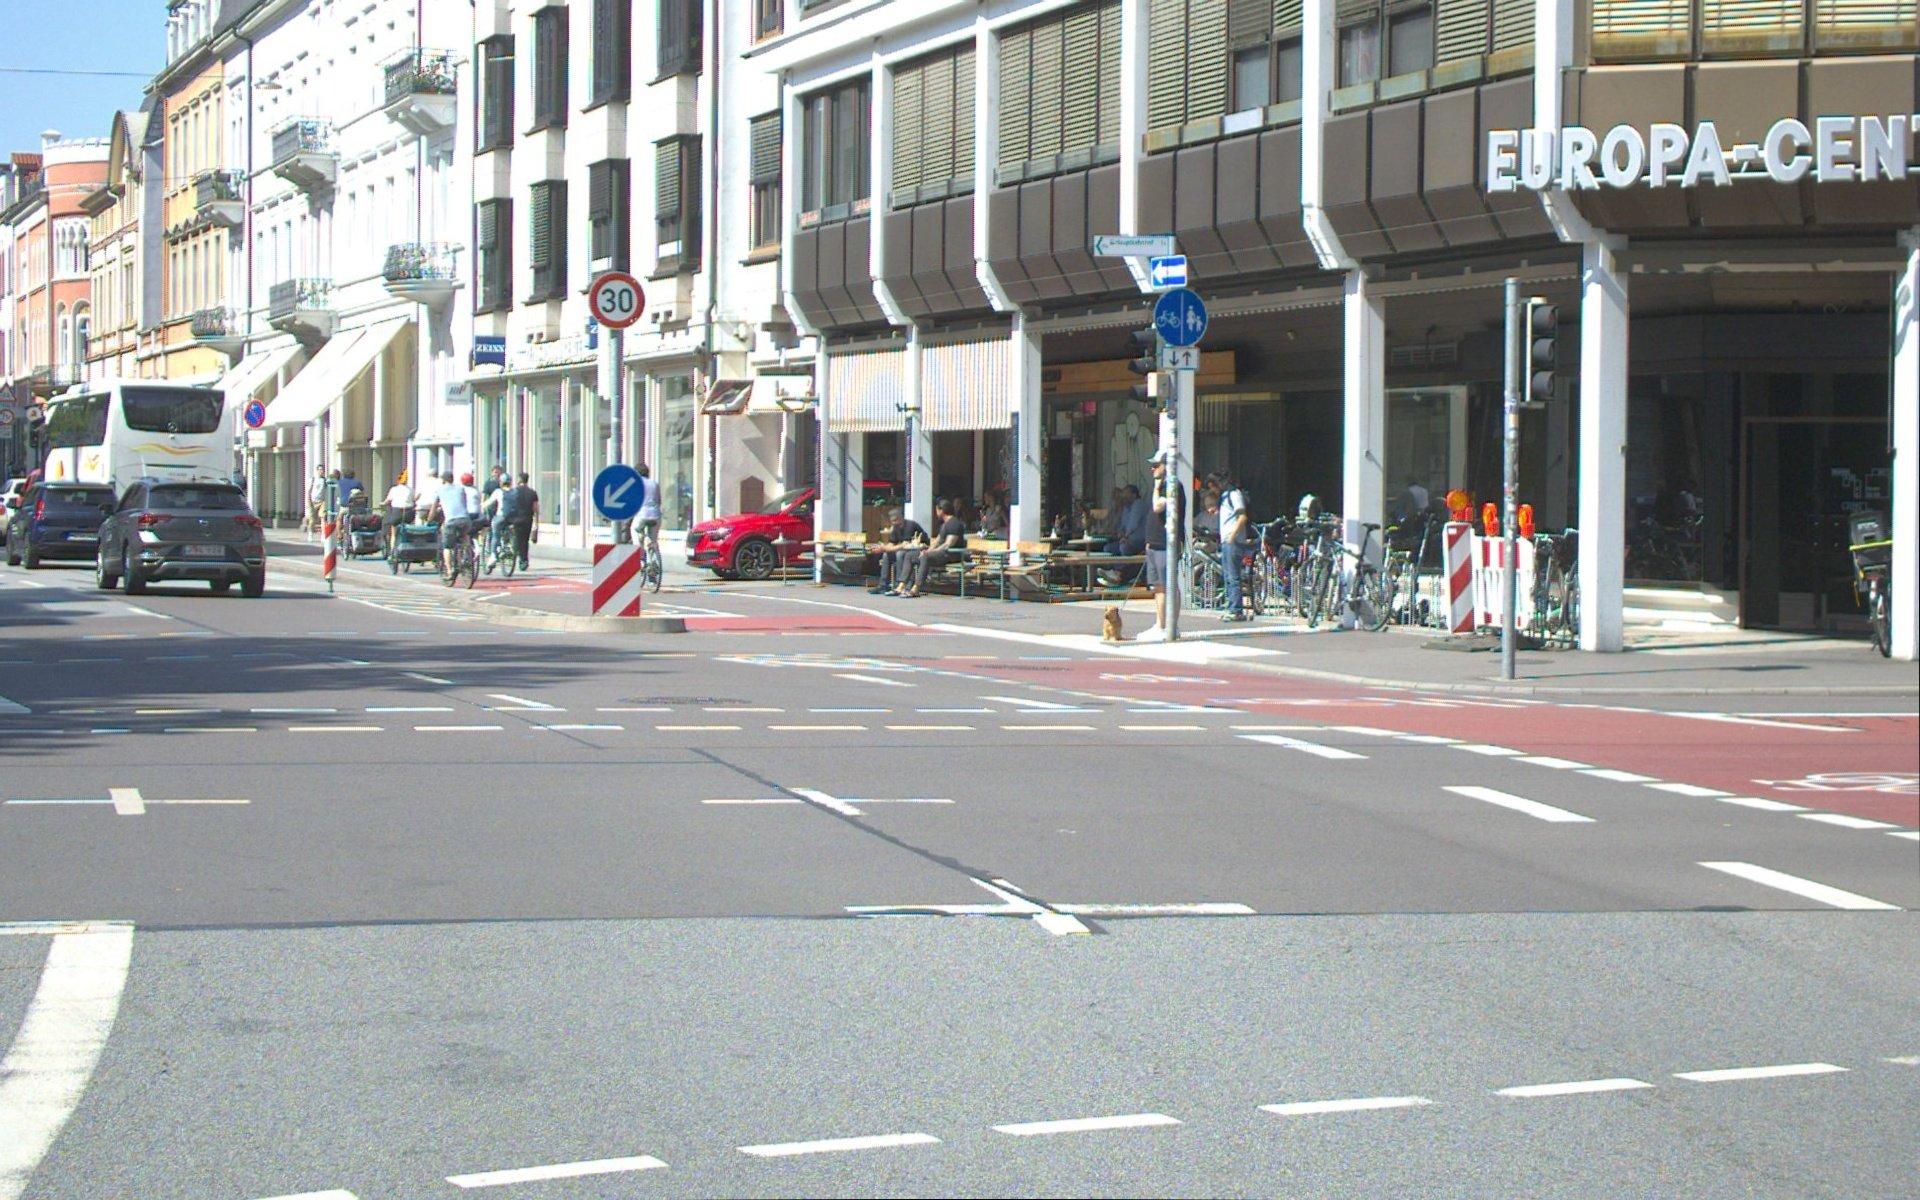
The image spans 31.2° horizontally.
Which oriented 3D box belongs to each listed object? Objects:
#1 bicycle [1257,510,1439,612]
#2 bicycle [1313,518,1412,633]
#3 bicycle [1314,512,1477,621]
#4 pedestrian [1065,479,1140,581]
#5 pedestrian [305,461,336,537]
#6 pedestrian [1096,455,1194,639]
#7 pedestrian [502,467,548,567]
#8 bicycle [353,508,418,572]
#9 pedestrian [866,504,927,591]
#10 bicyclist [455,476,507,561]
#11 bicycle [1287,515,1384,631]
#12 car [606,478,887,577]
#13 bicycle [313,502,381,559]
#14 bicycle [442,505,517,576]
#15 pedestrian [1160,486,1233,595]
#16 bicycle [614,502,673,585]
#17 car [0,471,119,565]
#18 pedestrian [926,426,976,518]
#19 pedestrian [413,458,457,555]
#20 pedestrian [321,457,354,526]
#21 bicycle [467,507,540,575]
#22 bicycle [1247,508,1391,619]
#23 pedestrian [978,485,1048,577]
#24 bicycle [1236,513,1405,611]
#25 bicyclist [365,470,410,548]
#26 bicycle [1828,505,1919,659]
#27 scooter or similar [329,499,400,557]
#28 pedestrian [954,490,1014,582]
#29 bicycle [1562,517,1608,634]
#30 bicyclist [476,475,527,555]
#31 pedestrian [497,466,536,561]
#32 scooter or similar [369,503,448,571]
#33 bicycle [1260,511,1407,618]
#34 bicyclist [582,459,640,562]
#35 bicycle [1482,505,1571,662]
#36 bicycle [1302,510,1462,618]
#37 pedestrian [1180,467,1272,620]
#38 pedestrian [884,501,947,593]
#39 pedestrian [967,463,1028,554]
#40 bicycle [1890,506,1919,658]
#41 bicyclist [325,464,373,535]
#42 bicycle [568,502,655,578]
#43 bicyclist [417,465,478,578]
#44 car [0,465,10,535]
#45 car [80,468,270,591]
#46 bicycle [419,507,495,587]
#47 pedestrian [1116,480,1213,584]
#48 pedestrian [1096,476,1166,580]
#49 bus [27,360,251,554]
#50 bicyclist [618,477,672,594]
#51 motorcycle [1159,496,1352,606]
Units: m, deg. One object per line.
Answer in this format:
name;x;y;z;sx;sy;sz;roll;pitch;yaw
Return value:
bicycle;4.359;-0.436;38.508;2.235;1.116;0.278;0;2;-28
bicycle;4.143;-0.274;35.549;0.276;1.116;2.244;0;2;-13
bicycle;4.630;-0.361;36.522;1.716;1.116;0.278;-1;2;-13
pedestrian;1.952;-0.957;47.264;0.813;1.392;0.697;0;1;-22
pedestrian;-14.942;-2.360;80.348;0.573;1.772;1.020;-1;1;-18
pedestrian;1.867;-0.534;34.726;0.832;1.829;0.697;0;0;-12
pedestrian;-7.555;-1.447;59.683;0.620;1.714;0.836;0;1;-18
bicycle;-10.090;-1.060;60.374;0.620;1.095;2.353;0;2;-22
pedestrian;-0.867;-0.718;46.765;0.711;1.169;0.697;0;1;-12
bicyclist;-7.643;-1.303;54.836;0.620;1.350;0.847;0;1;-22
bicycle;3.855;-0.296;35.414;0.276;1.116;2.244;0;2;-13
car;-3.360;-1.139;53.897;4.043;1.489;1.842;-1;0;-19
bicycle;-12.076;-1.377;67.688;0.837;1.095;2.353;0;2;-22
bicycle;-7.681;-0.957;54.926;0.620;1.095;2.353;0;2;-22
pedestrian;3.056;-0.772;44.529;0.711;1.392;0.697;0;1;-21
bicycle;-4.434;-0.795;48.133;0.594;1.116;1.802;0;2;-13
car;-15.621;-1.389;59.120;1.832;1.522;4.001;-2;1;-19
pedestrian;-0.142;-1.924;51.599;0.535;1.363;0.689;0;2;-20
pedestrian;-9.380;-1.677;61.441;0.620;1.713;0.836;0;2;-20
pedestrian;-14.731;-2.555;81.342;0.645;1.611;0.822;0;1;-18
bicycle;-7.542;-0.984;56.742;0.620;1.095;2.353;0;2;-22
bicycle;3.932;-0.397;37.642;1.545;1.202;0.278;0;2;-14
pedestrian;0.785;-1.025;50.967;0.877;1.363;0.537;0;2;-21
bicycle;4.110;-0.435;39.076;2.236;1.093;0.277;-1;2;-34
bicyclist;-10.038;-1.596;60.253;0.620;1.366;0.781;0;1;-22
bicycle;8.434;-0.183;31.188;0.530;1.312;1.964;2;3;31
scooter or similar;-11.446;-1.389;66.064;1.121;1.098;1.086;0;2;-22
pedestrian;0.353;-0.955;51.299;0.760;1.363;0.478;0;2;-21
bicycle;5.943;-0.244;32.658;0.308;1.061;1.470;0;2;15
bicyclist;-7.582;-1.408;56.830;0.620;1.292;0.867;0;1;-22
pedestrian;-8.703;-1.693;67.503;0.694;1.844;0.836;0;1;-12
scooter or similar;-9.408;-1.076;58.626;0.961;1.131;1.586;0;2;-23
bicycle;4.055;-0.388;37.294;1.570;1.116;0.278;-1;2;-13
bicyclist;-5.233;-1.338;51.483;0.620;1.524;0.869;0;1;-22
bicycle;5.485;-0.172;33.259;0.376;1.060;1.472;0;21;26
bicycle;4.532;-0.387;36.906;1.716;1.116;0.278;-1;2;-13
pedestrian;2.925;-0.623;37.837;0.832;1.657;0.697;0;1;-12
pedestrian;-0.595;-0.711;45.952;0.711;1.212;0.697;0;1;-12
pedestrian;0.570;-1.388;51.949;0.744;1.363;0.584;0;2;-21
bicycle;8.914;-0.184;30.967;0.530;1.312;1.856;2;3;31
bicyclist;-11.998;-1.966;67.487;0.787;1.374;0.723;0;1;-22
bicycle;-5.233;-0.907;51.494;0.620;1.095;2.353;0;2;-23
bicyclist;-7.810;-1.204;52.383;0.694;1.667;0.916;2;2;-19
car;-22.392;-2.186;76.826;1.832;1.522;4.001;-2;1;-21
car;-10.529;-0.940;45.958;1.832;1.522;4.001;2;1;-22
bicycle;-7.684;-0.822;52.443;0.664;1.116;2.244;2;2;-20
pedestrian;2.701;-0.893;45.421;0.895;1.346;1.106;0;1;-21
pedestrian;2.310;-0.976;46.498;0.711;1.392;0.697;0;1;-21
bus;-17.860;-3.052;74.056;2.880;3.729;12.431;2;1;-21
bicyclist;-4.404;-0.904;47.976;0.694;1.620;0.836;0;2;-9
motorcycle;3.520;-0.579;40.866;2.236;1.286;0.948;0;1;8
